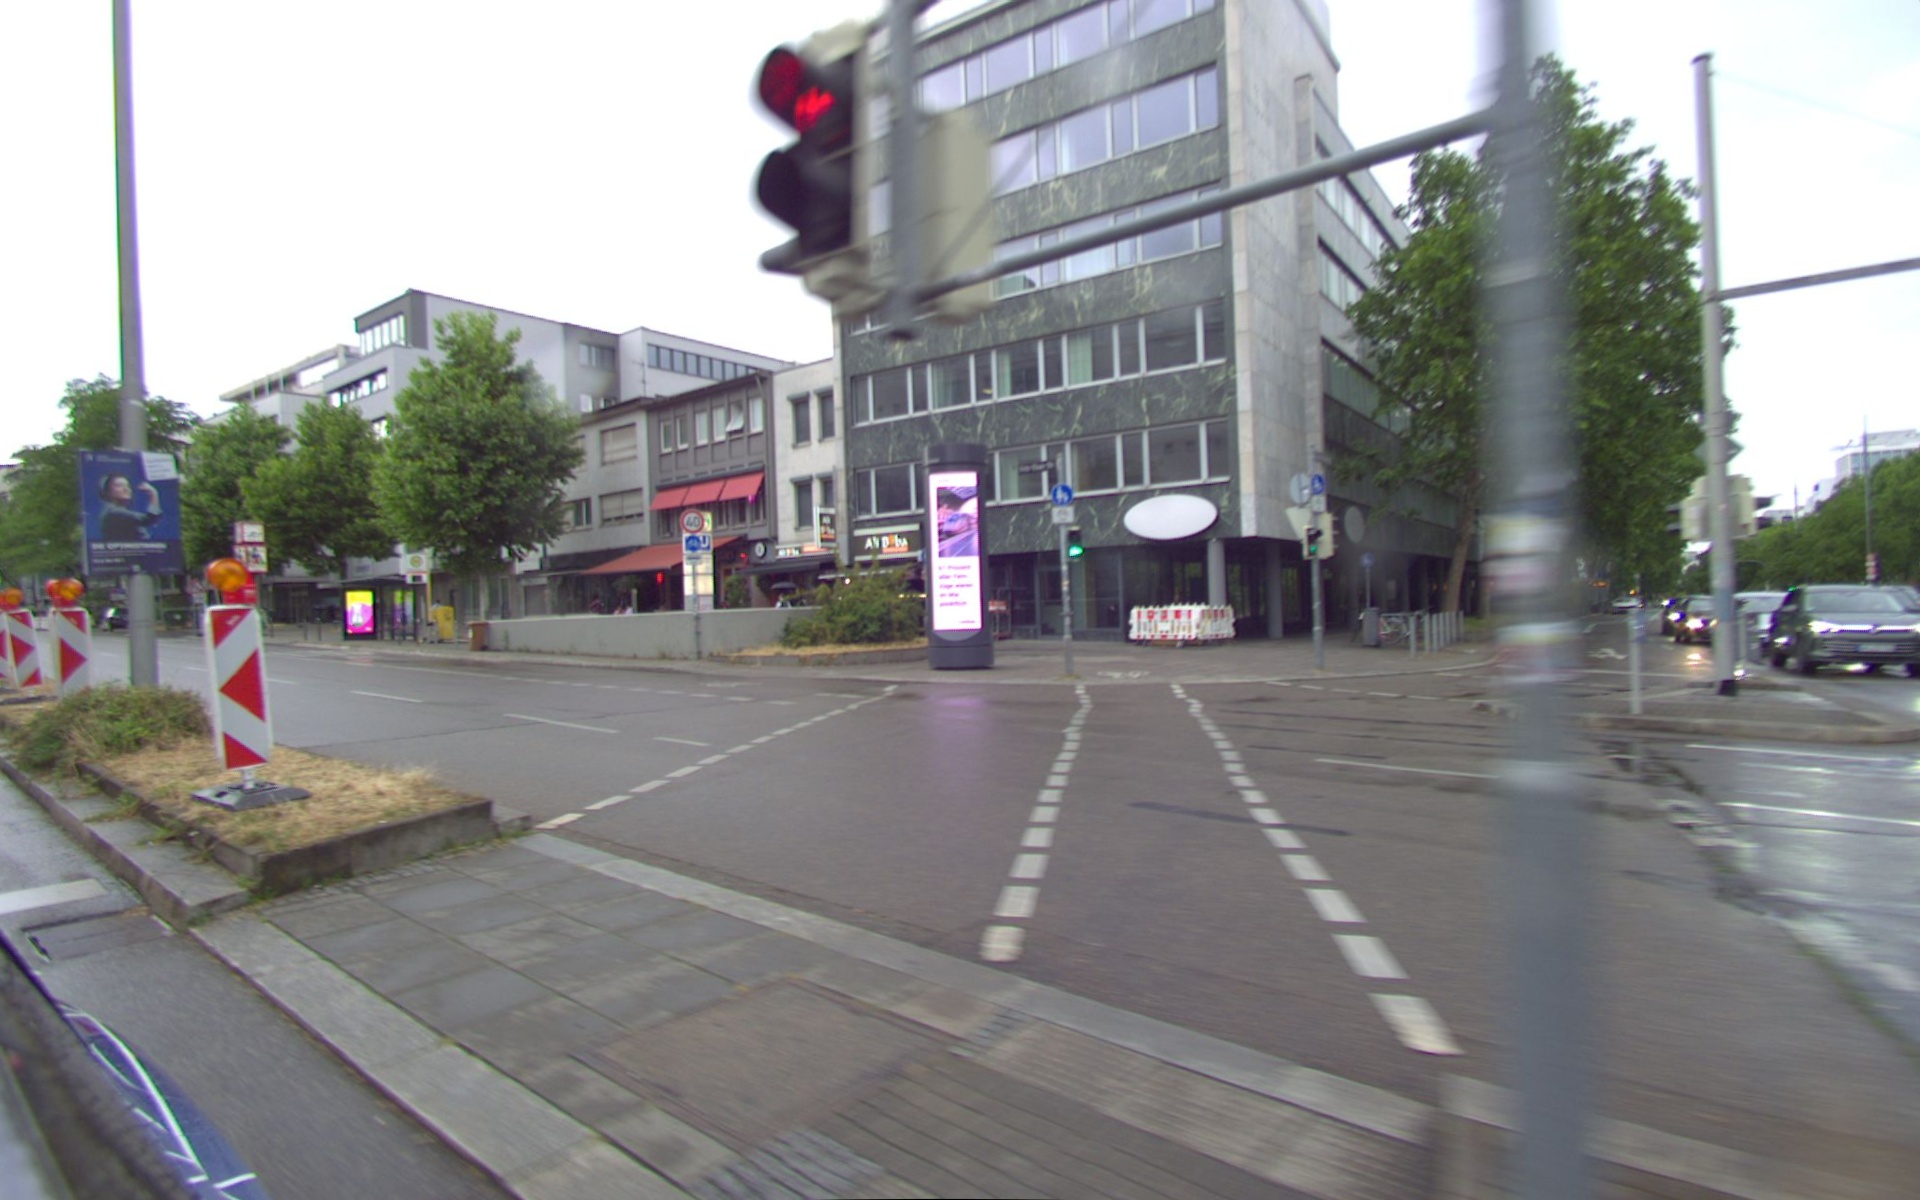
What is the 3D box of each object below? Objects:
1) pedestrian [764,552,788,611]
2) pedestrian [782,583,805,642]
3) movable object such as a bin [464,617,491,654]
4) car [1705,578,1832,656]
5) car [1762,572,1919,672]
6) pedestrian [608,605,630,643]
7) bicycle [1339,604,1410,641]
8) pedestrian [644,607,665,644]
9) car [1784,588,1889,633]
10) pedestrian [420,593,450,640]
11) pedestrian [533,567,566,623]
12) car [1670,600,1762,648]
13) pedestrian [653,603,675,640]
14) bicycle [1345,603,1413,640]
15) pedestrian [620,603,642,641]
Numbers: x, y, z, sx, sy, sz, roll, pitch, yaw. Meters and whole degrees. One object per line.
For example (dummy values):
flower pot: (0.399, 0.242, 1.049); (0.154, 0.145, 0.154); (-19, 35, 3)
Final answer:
pedestrian: (-6.372, -0.623, 35.100); (0.588, 2.029, 0.730); (-1, 0, -29)
pedestrian: (-5.830, 0.437, 35.397); (0.588, 2.029, 0.730); (-1, 0, -29)
movable object such as a bin: (-14.907, 1.088, 31.282); (0.660, 1.109, 0.501); (0, 0, 39)
car: (19.974, 0.397, 25.183); (1.994, 1.763, 3.956); (-1, 0, 32)
car: (16.955, 0.376, 19.226); (1.992, 1.699, 4.323); (-1, 0, 30)
pedestrian: (-14.202, 1.001, 42.130); (0.611, 1.540, 0.660); (-1, -1, 44)
bicycle: (11.957, 0.646, 29.216); (1.780, 1.060, 0.579); (-1, 0, 37)
pedestrian: (-13.068, 1.075, 43.300); (0.611, 1.540, 0.660); (-1, -1, 45)
car: (28.646, 0.319, 33.212); (1.994, 1.381, 4.129); (-1, 0, 33)
pedestrian: (-23.257, 0.710, 44.820); (0.943, 2.029, 0.910); (0, 0, 41)
pedestrian: (-13.665, -0.161, 33.683); (0.786, 1.837, 0.607); (0, 0, 18)
car: (23.563, 0.723, 31.695); (1.994, 1.381, 4.129); (-1, 0, 33)
pedestrian: (-12.522, 0.902, 42.838); (0.611, 1.540, 0.660); (-1, -1, 44)
bicycle: (12.456, 0.633, 30.122); (1.780, 1.060, 0.579); (-1, 0, 37)
pedestrian: (-13.479, 0.910, 41.465); (0.611, 1.540, 0.660); (-1, -1, 44)
